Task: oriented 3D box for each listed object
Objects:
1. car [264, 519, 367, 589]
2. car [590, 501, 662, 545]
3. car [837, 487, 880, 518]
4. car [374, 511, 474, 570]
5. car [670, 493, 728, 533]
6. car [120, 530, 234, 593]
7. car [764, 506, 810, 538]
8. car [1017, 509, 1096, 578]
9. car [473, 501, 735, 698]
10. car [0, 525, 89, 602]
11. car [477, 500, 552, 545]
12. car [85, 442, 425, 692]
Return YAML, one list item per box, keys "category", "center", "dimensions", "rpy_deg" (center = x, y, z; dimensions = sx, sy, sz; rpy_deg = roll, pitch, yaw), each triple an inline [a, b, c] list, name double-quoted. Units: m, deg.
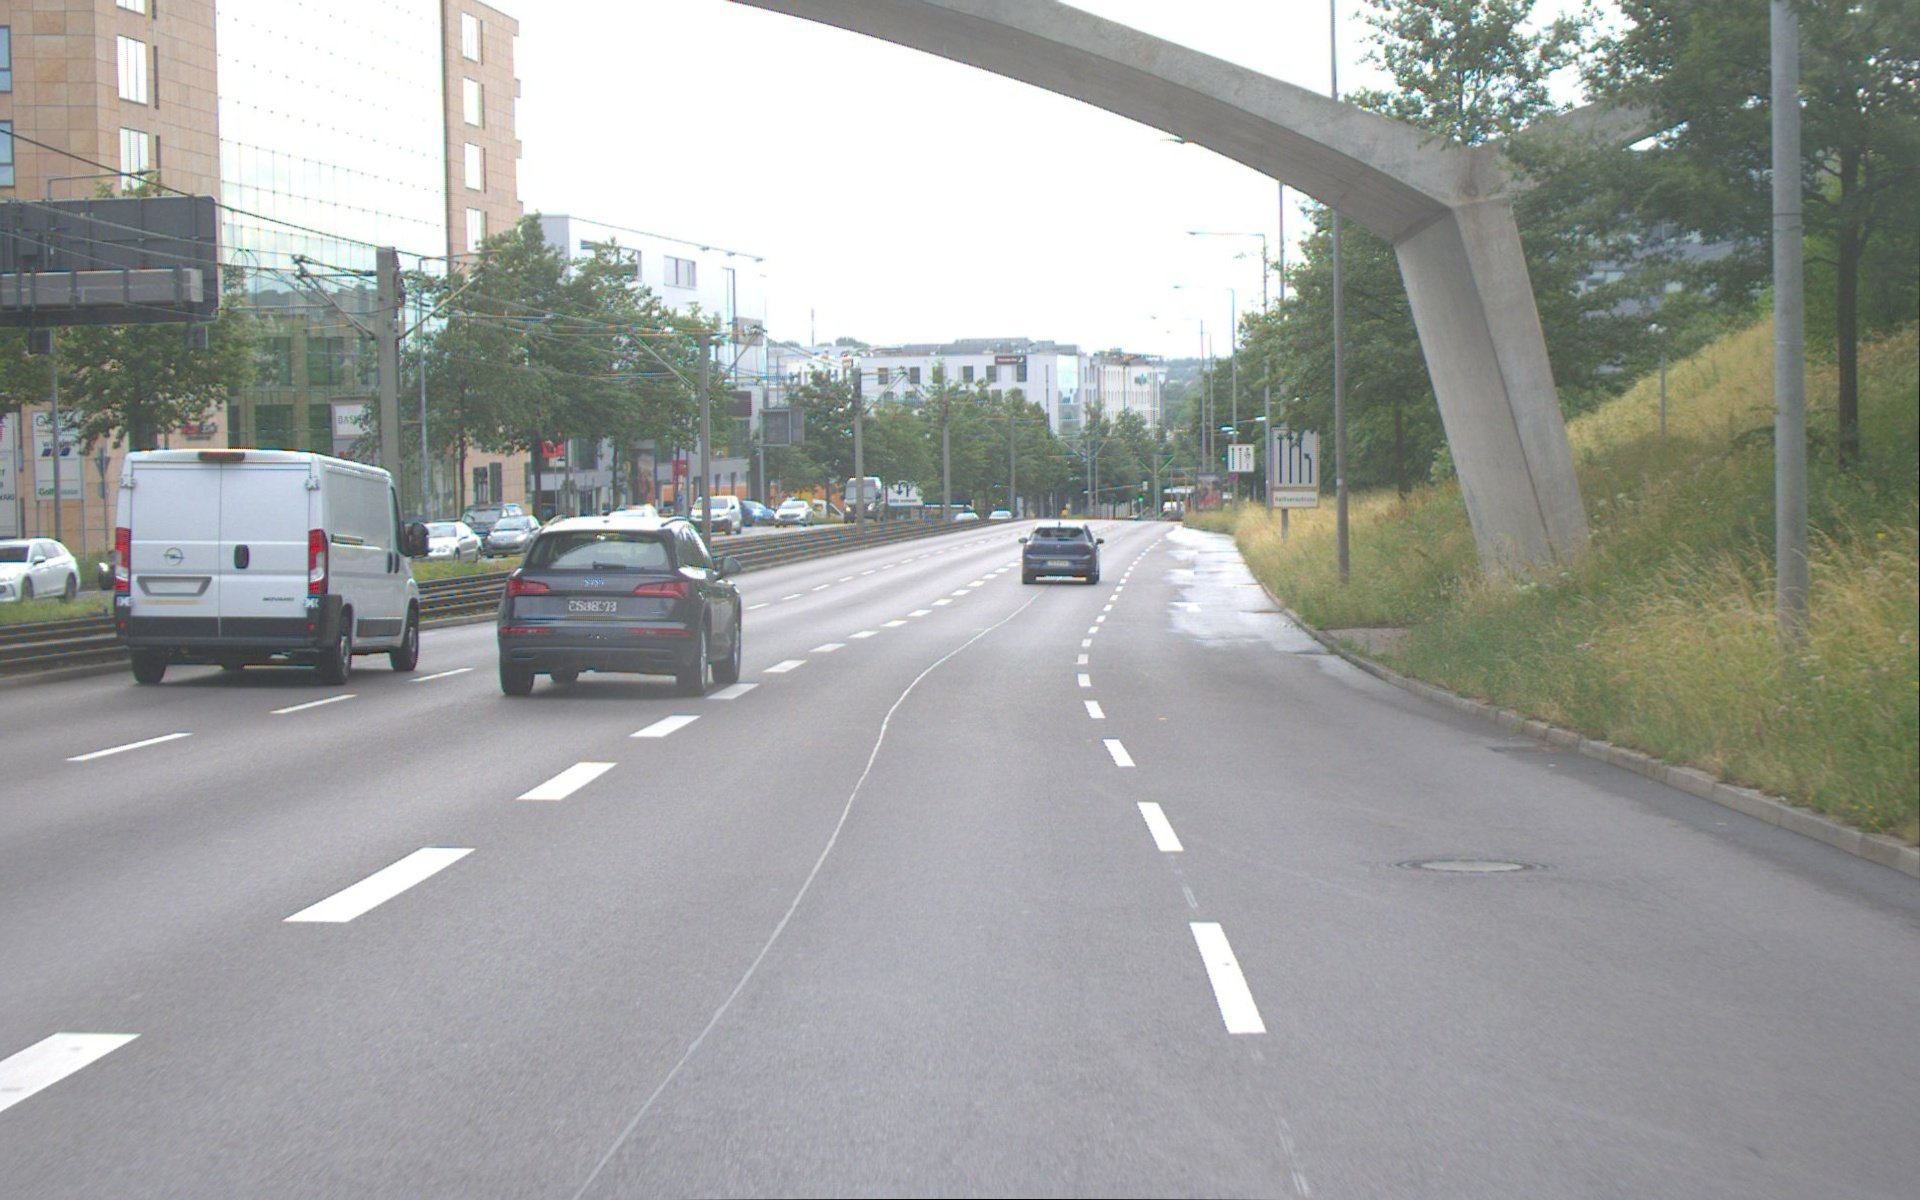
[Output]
- category: "car"
  center: [-17.444, -1.271, 93.208]
  dimensions: [1.920, 1.770, 4.134]
  rpy_deg: [1, 2, 2]
- category: "car"
  center: [-12.338, -2.870, 127.218]
  dimensions: [1.810, 1.528, 4.869]
  rpy_deg: [1, 2, 5]
- category: "car"
  center: [-5.812, -5.614, 197.949]
  dimensions: [1.938, 1.755, 4.809]
  rpy_deg: [1, 2, 5]
- category: "car"
  center: [-15.428, -1.745, 99.229]
  dimensions: [1.764, 1.592, 4.791]
  rpy_deg: [1, 2, 5]
- category: "car"
  center: [-12.145, -4.066, 160.190]
  dimensions: [1.938, 1.755, 5.062]
  rpy_deg: [1, 2, 5]
- category: "car"
  center: [-21.200, -1.062, 93.241]
  dimensions: [1.764, 1.592, 4.490]
  rpy_deg: [1, 2, 5]
- category: "car"
  center: [-9.647, -4.371, 192.131]
  dimensions: [1.938, 1.755, 4.809]
  rpy_deg: [1, 2, 5]
- category: "car"
  center: [2.283, -1.323, 81.652]
  dimensions: [1.789, 1.585, 4.000]
  rpy_deg: [1, 0, 1]
- category: "car"
  center: [-3.264, -0.019, 32.279]
  dimensions: [1.922, 1.705, 4.098]
  rpy_deg: [1, 0, 1]
- category: "car"
  center: [-20.219, -0.800, 73.214]
  dimensions: [1.920, 1.492, 4.656]
  rpy_deg: [1, 2, 3]
- category: "car"
  center: [-15.948, -2.806, 123.201]
  dimensions: [1.810, 1.528, 4.274]
  rpy_deg: [1, 2, 5]
- category: "car"
  center: [-6.902, -0.389, 34.221]
  dimensions: [2.268, 2.277, 4.760]
  rpy_deg: [1, 2, 2]
